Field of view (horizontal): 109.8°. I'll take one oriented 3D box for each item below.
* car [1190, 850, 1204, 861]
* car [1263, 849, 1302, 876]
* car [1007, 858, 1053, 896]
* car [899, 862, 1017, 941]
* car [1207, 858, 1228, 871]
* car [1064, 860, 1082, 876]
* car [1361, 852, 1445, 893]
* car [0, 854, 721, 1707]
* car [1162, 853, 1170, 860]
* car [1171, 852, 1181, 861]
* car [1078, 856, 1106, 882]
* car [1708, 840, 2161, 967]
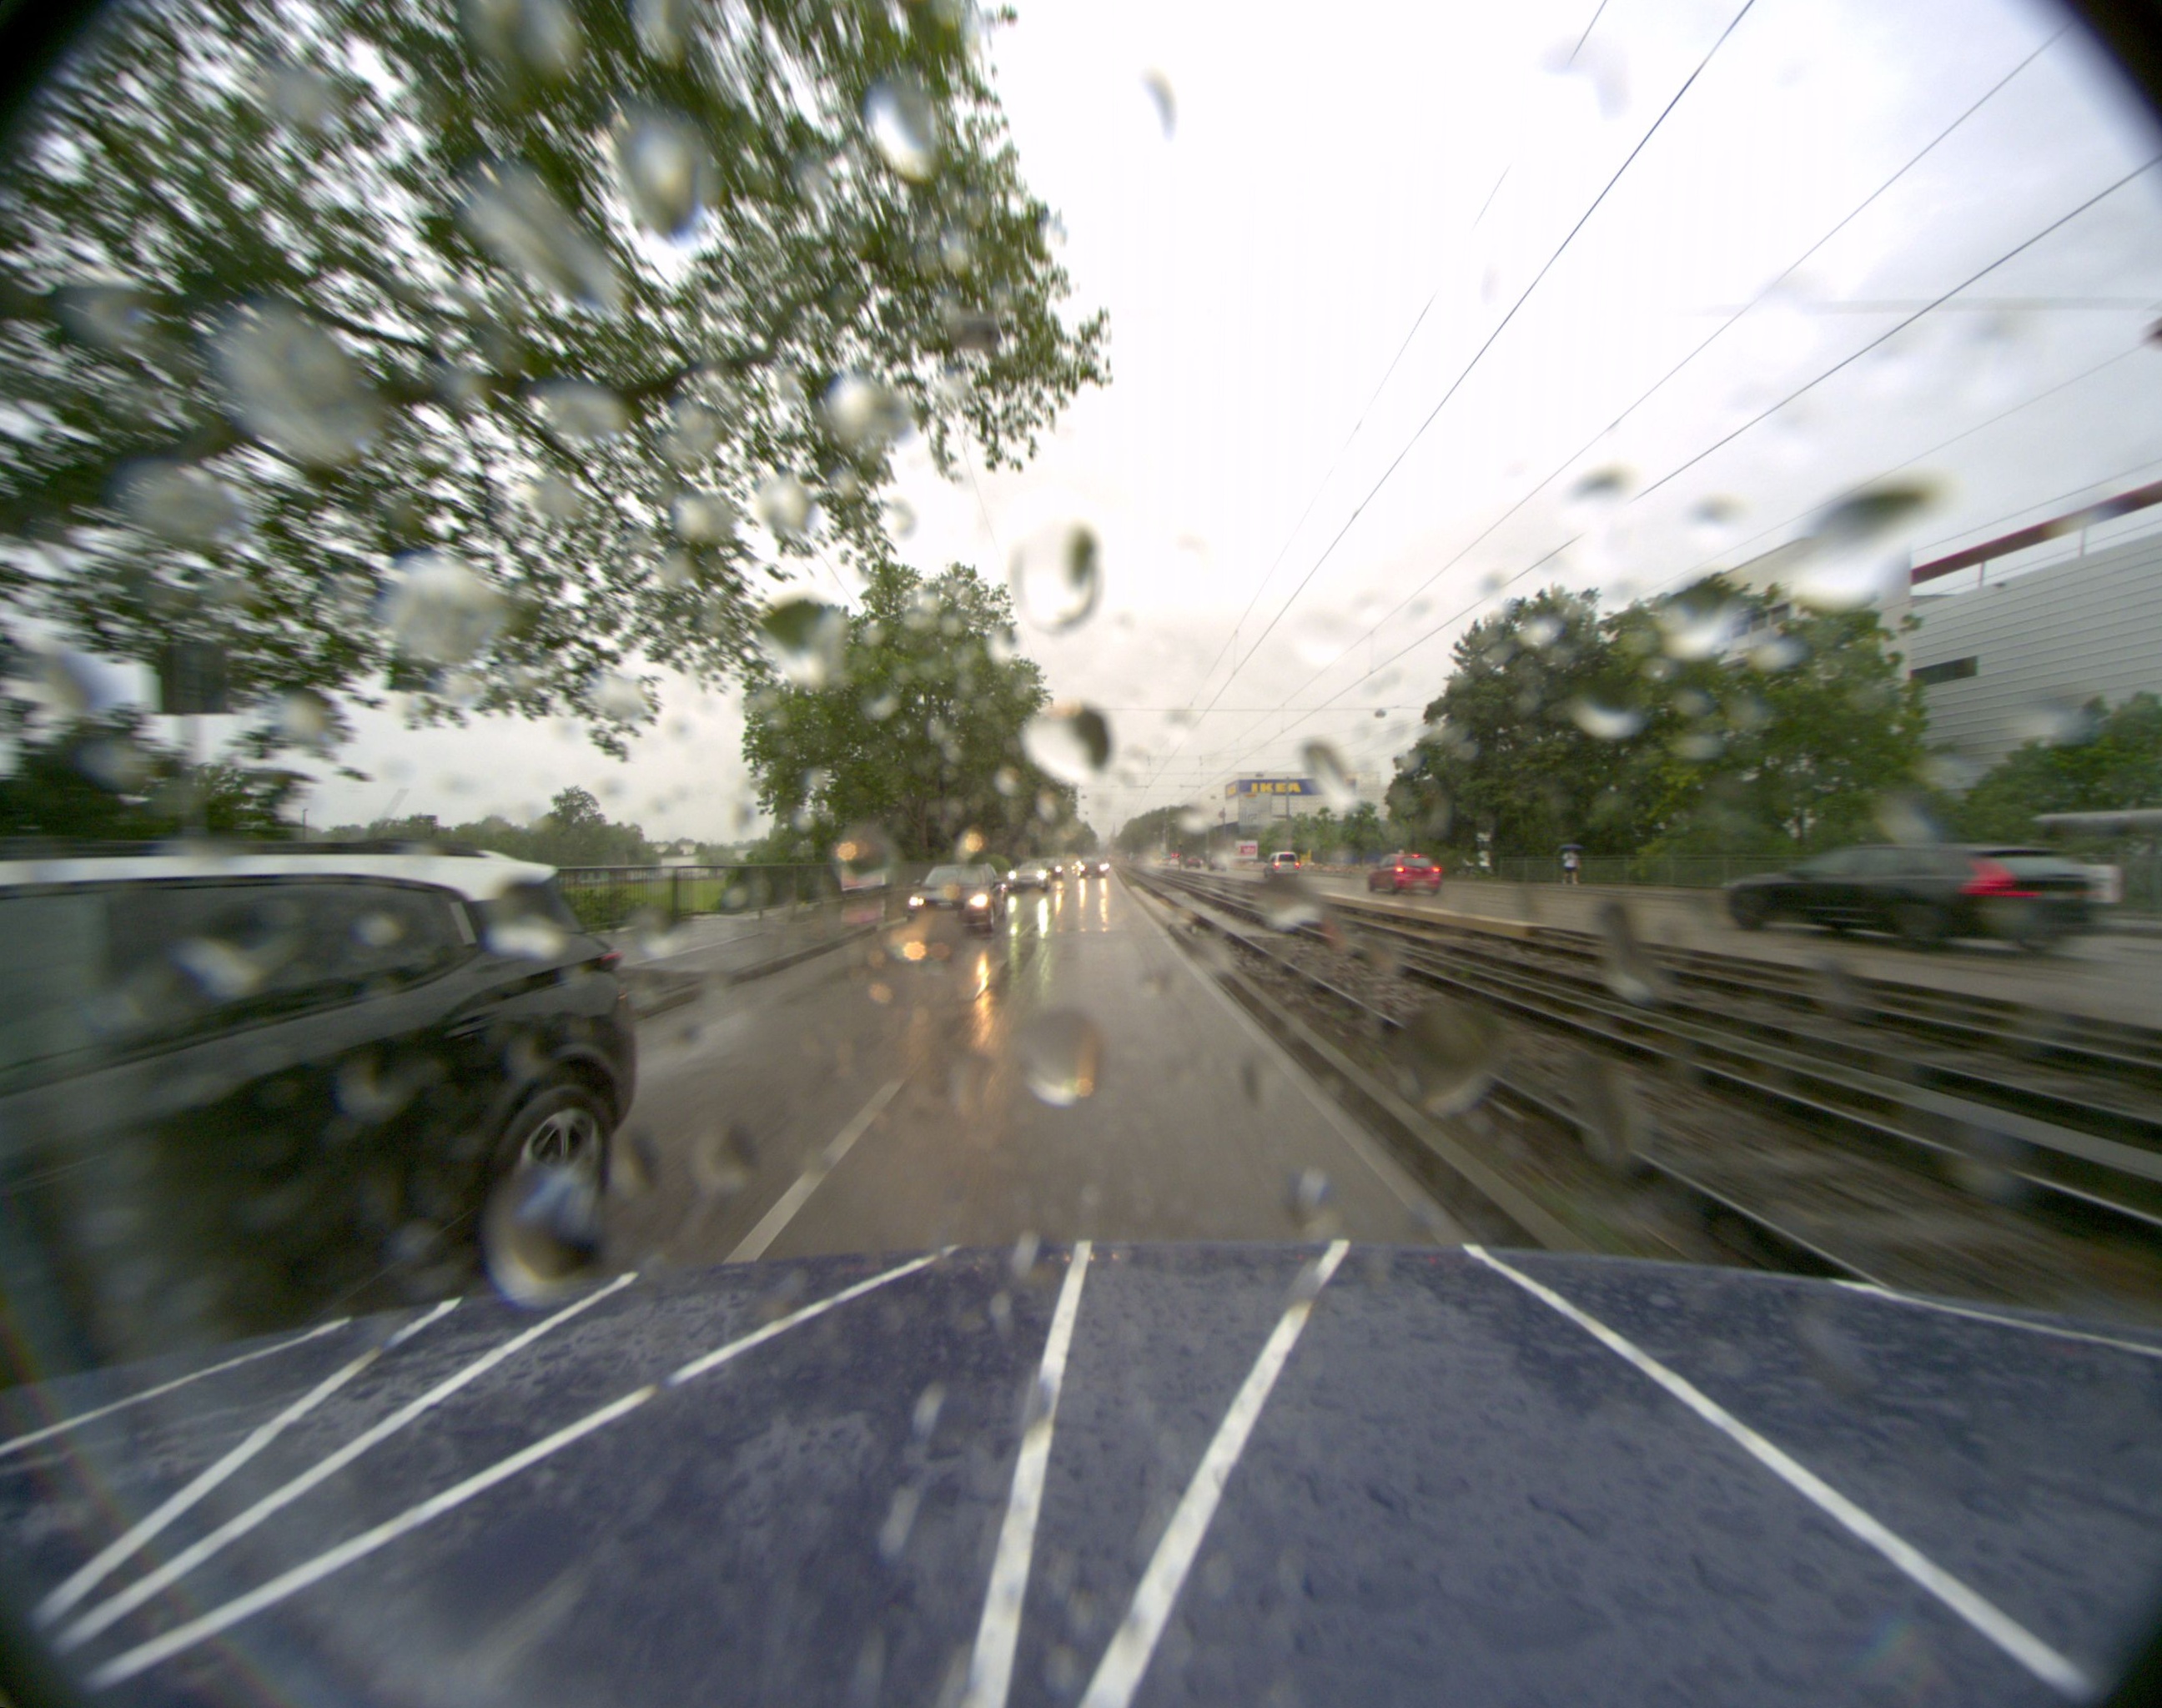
[{"bbox_3d":[16.707,0.216,109.251,1.648,1.536,4.001,0,0,3],"label":"car"},{"bbox_3d":[14.668,0.602,55.611,1.845,1.898,4.000,0,0,1],"label":"car"},{"bbox_3d":[-2.198,0.980,33.617,1.807,1.521,3.645,-2,0,-1],"label":"car"},{"bbox_3d":[-2.495,0.923,16.334,1.784,1.419,4.000,-1,0,1],"label":"car"},{"bbox_3d":[15.760,1.207,87.910,1.708,1.536,4.000,0,0,1],"label":"car"},{"bbox_3d":[-0.841,1.510,81.853,1.846,1.572,3.837,-2,0,-1],"label":"car"},{"bbox_3d":[12.046,0.663,28.653,1.707,1.445,4.001,0,0,4],"label":"car"},{"bbox_3d":[-2.888,0.879,1.677,1.797,1.692,4.763,-2,0,1],"label":"car"},{"bbox_3d":[18.294,0.515,163.685,1.570,1.525,4.001,0,0,4],"label":"car"},{"bbox_3d":[17.501,0.507,139.603,1.570,1.536,4.001,-2,0,4],"label":"car"},{"bbox_3d":[0.787,1.012,52.305,1.816,1.692,4.000,-1,0,1],"label":"car"},{"bbox_3d":[13.067,0.657,12.266,1.942,1.642,4.871,0,0,1],"label":"car"}]
